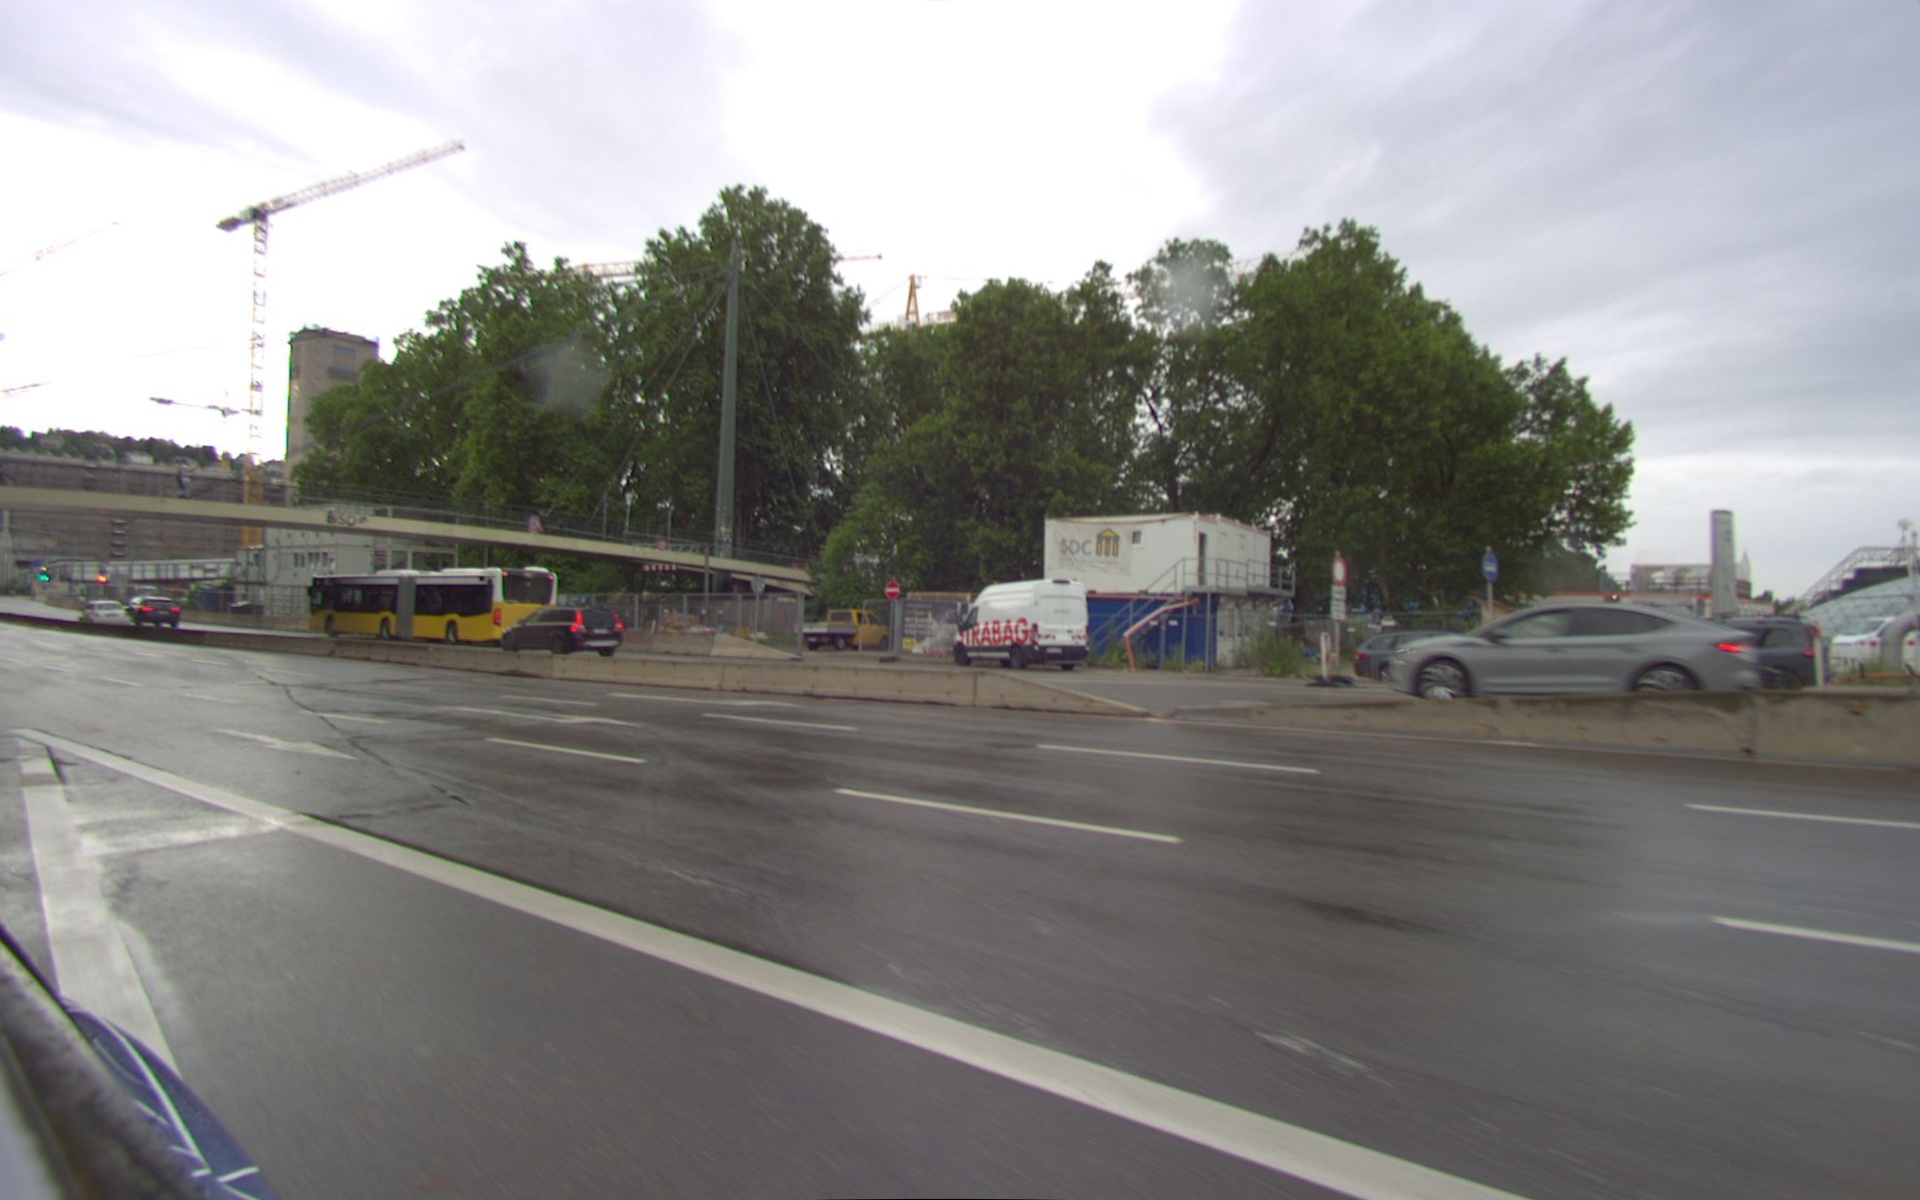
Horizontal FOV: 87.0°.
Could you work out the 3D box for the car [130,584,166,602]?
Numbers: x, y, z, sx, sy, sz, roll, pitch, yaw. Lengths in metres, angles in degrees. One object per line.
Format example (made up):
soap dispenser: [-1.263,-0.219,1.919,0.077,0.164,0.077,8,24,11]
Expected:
car: [-91.081,-0.826,113.464,4.786,1.775,1.829,2,-1,35]

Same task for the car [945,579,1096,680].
car: [1.782,0.858,32.496,1.965,2.897,6.072,3,-1,-26]

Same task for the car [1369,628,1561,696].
car: [12.952,1.543,26.087,4.171,1.577,1.744,-1,-2,40]

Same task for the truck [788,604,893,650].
truck: [-5.619,1.294,48.235,2.157,2.029,5.206,1,-1,32]

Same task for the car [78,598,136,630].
car: [-45.491,0.745,53.958,3.446,1.500,1.693,2,-1,38]

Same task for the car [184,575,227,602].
car: [-93.471,-1.423,125.303,6.153,3.089,2.255,2,-1,34]

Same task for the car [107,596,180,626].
car: [-46.948,0.633,58.169,4.843,1.643,2.063,0,-2,36]

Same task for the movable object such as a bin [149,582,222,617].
movable object such as a bin: [-76.166,-0.074,99.525,6.374,3.152,3.898,2,-1,35]

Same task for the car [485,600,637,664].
car: [-12.329,0.942,31.146,4.925,1.674,2.020,2,-1,37]

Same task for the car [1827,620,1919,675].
car: [40.667,2.031,43.119,5.287,2.245,2.121,1,-1,8]

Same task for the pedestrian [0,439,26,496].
pedestrian: [-36.805,-5.068,38.308,1.111,2.029,1.965,2,0,40]

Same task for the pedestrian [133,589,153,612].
pedestrian: [-74.613,0.071,92.412,1.172,2.029,1.168,2,0,38]

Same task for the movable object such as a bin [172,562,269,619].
movable object such as a bin: [-68.880,-0.900,94.193,8.341,4.839,4.709,2,-1,35]

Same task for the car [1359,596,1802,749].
car: [8.974,0.944,15.071,5.288,1.769,1.976,2,-1,36]

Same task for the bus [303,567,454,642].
bus: [-27.220,0.164,47.178,8.792,3.209,2.780,1,-2,37]

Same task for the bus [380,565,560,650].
bus: [-20.232,0.267,41.509,9.134,3.175,2.678,1,-1,37]
